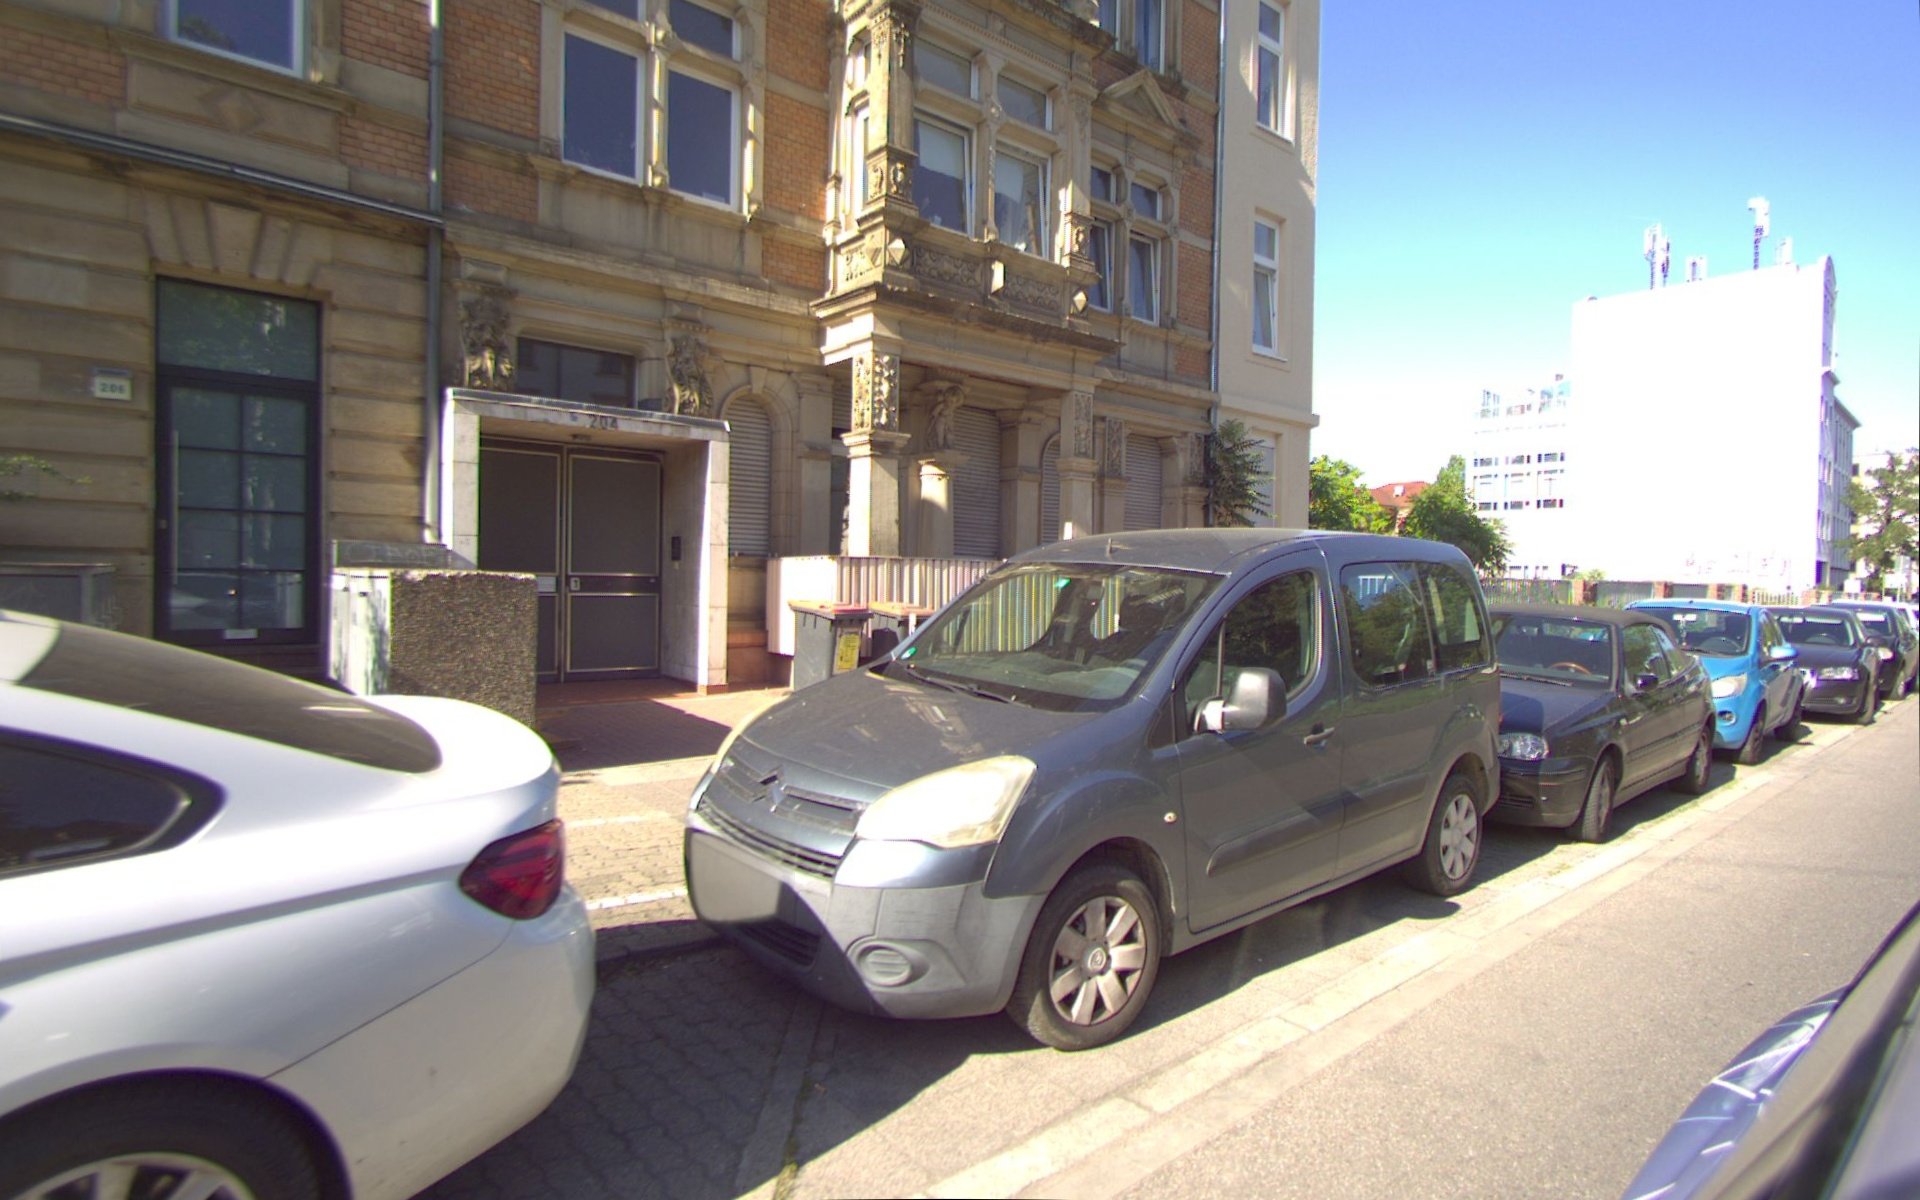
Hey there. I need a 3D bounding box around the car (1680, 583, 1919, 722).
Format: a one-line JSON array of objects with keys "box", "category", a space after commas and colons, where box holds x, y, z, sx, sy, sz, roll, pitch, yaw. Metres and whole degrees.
[{"box": [11.432, 0.584, 13.652, 4.408, 1.538, 1.937, 0, 1, -43], "category": "car"}]

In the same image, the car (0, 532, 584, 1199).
[{"box": [-2.889, 0.599, 1.344, 4.132, 1.442, 1.713, 0, 4, -41], "category": "car"}]

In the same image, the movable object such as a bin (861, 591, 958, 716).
[{"box": [-0.514, 0.508, 10.130, 0.598, 1.171, 0.760, -3, 2, -39], "category": "movable object such as a bin"}]

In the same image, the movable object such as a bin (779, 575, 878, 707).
[{"box": [-1.248, 0.364, 9.606, 0.598, 1.171, 0.723, -3, 2, -39], "category": "movable object such as a bin"}]

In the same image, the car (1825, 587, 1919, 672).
[{"box": [18.616, 0.547, 20.283, 1.669, 1.538, 3.602, 2, 1, 45], "category": "car"}]

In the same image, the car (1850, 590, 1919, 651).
[{"box": [25.823, 0.529, 27.869, 1.669, 1.477, 3.922, 6, 4, 44], "category": "car"}]

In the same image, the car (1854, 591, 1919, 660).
[{"box": [22.407, 0.583, 23.816, 3.596, 1.463, 1.611, 0, 4, -43], "category": "car"}]

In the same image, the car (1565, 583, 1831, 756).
[{"box": [7.833, 0.616, 10.650, 3.242, 1.489, 1.624, 1, 1, -42], "category": "car"}]

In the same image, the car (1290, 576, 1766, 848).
[{"box": [4.378, 0.607, 7.512, 4.197, 1.486, 1.672, 0, 0, -39], "category": "car"}]

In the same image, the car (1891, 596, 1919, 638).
[{"box": [29.521, 0.541, 30.639, 3.835, 1.197, 1.670, 0, 4, -44], "category": "car"}]

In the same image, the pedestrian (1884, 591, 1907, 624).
[{"box": [46.533, 0.354, 50.331, 0.881, 1.603, 0.744, 0, -1, -42], "category": "pedestrian"}]

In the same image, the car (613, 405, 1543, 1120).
[{"box": [0.842, 0.408, 4.710, 4.285, 1.867, 1.823, 0, 1, -39], "category": "car"}]

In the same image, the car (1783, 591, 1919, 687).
[{"box": [15.242, 0.581, 17.017, 3.711, 1.411, 1.670, 0, 1, -43], "category": "car"}]
